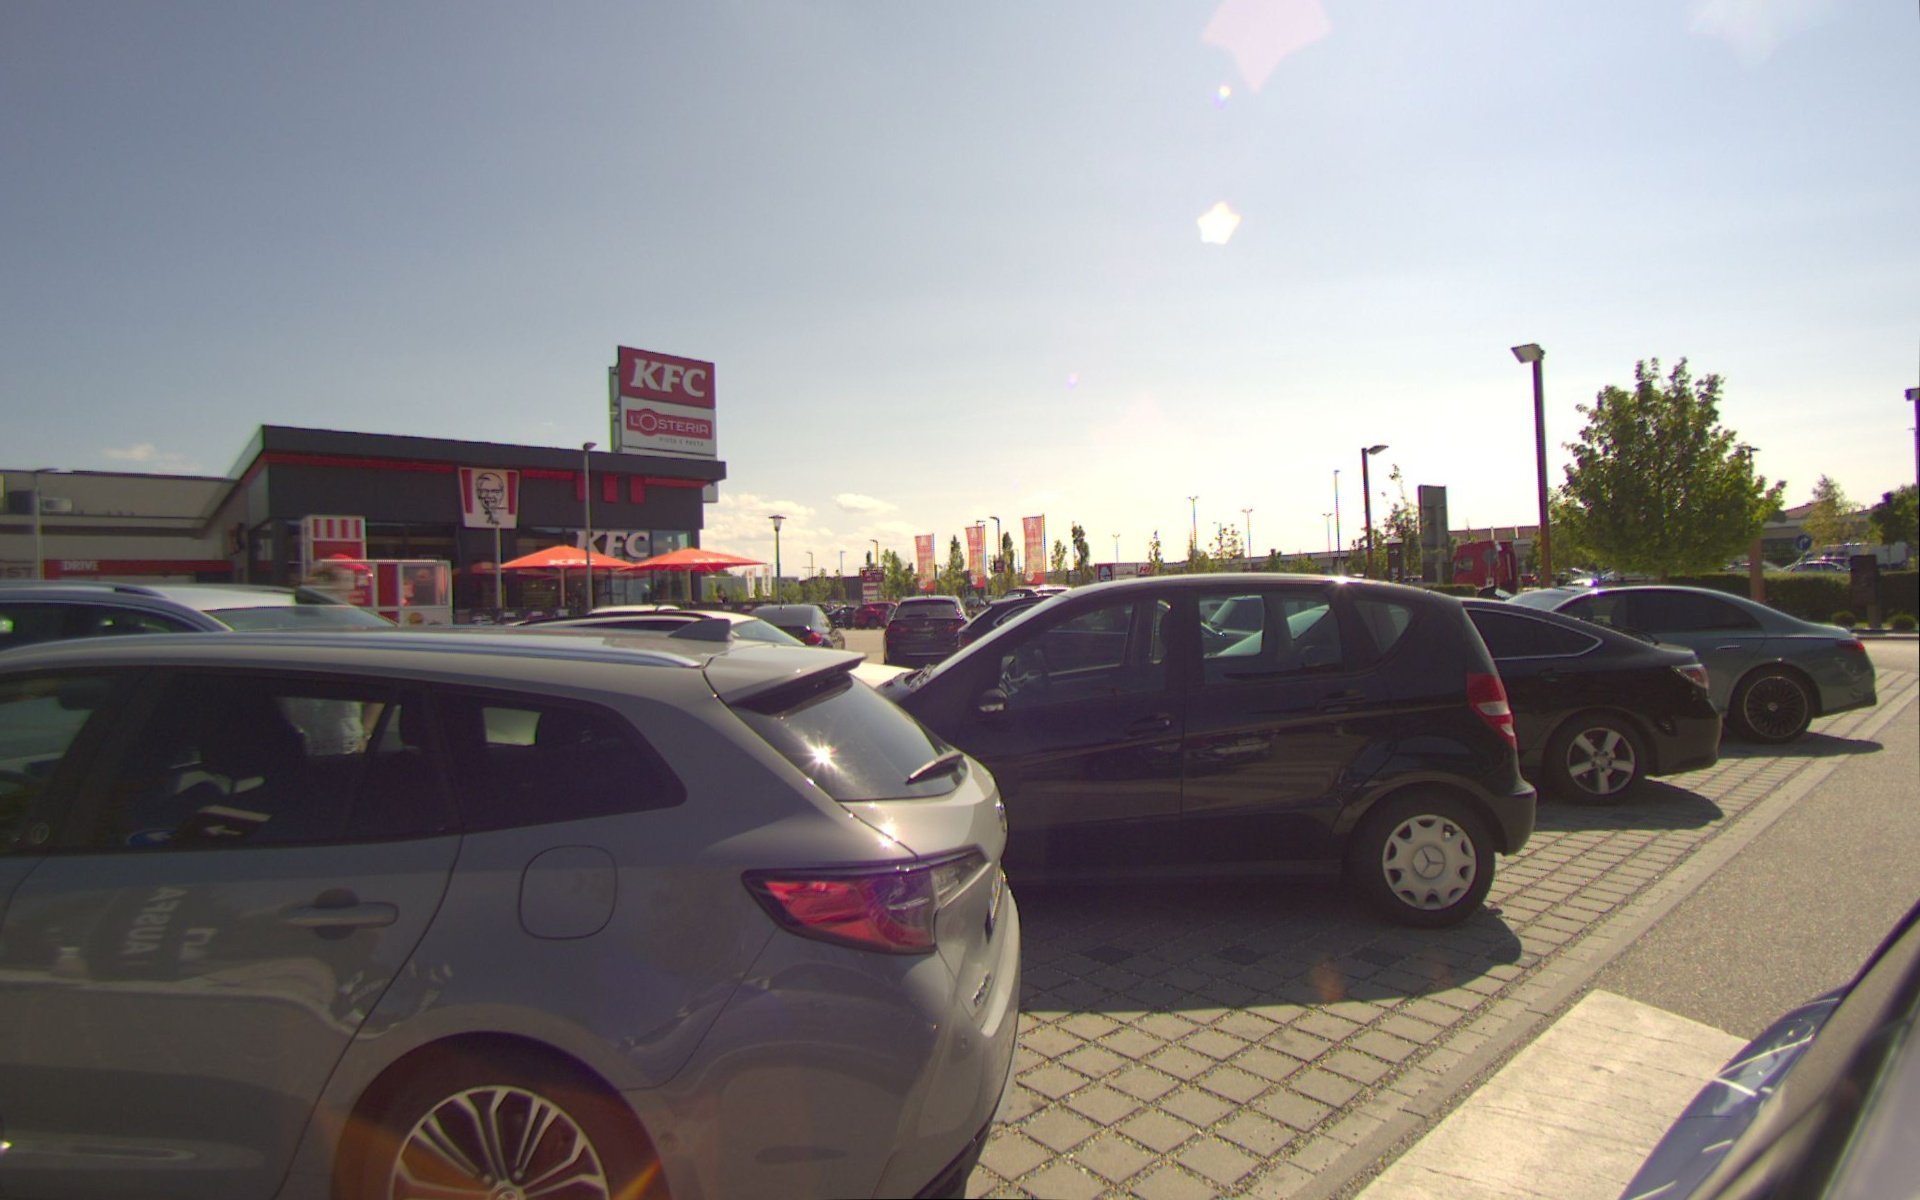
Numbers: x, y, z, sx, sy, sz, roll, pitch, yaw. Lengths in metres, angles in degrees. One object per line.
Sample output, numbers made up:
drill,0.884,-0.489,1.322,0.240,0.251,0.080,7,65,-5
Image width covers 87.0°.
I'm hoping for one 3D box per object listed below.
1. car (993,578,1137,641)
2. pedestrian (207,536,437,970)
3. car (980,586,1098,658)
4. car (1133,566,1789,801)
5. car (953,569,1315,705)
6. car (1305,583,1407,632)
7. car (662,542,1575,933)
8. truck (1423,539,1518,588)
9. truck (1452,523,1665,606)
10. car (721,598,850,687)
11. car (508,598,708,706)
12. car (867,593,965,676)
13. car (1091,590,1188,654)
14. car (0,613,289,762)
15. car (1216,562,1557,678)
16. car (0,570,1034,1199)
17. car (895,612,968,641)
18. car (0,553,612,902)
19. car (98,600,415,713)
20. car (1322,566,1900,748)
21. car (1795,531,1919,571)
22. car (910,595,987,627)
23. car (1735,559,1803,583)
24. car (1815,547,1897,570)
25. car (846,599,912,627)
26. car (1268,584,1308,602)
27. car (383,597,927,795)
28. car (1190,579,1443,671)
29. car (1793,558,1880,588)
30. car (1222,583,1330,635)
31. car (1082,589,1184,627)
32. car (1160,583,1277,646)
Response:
car,3.338,0.272,31.758,4.292,1.772,2.069,-2,0,-41
pedestrian,-2.745,0.615,4.397,0.554,1.735,0.608,-2,-1,11
car,1.794,0.487,24.467,1.742,1.530,4.359,-2,0,-10
car,3.458,0.574,7.694,4.003,1.467,1.827,-2,0,4
car,2.162,0.457,13.382,4.338,1.530,1.981,-2,0,5
car,12.853,0.224,33.119,1.878,1.440,3.774,-2,0,2
car,0.679,0.621,5.347,3.927,1.613,1.810,-2,0,3
truck,38.452,-2.672,76.507,2.373,3.394,7.577,-2,1,-8
truck,31.377,-1.735,53.539,3.152,3.915,9.122,-2,0,-38
car,-3.106,0.701,18.742,1.786,1.421,4.001,-2,0,-2
car,-5.664,0.752,16.922,1.877,1.490,4.473,-2,0,-2
car,-0.809,0.642,20.929,1.786,1.508,3.999,-2,0,0
car,4.460,0.497,25.848,1.680,1.428,4.680,-2,0,1
car,-10.439,0.938,12.319,1.809,1.443,4.186,-2,0,-1
car,6.350,0.294,15.543,4.338,1.530,1.981,-2,0,5
car,-2.107,0.718,2.997,4.581,1.465,1.833,-1,0,6
car,-1.586,1.452,56.161,3.683,1.472,1.687,-2,0,-34
car,-4.323,0.652,5.861,3.995,1.661,1.746,-1,0,5
car,-11.314,0.877,16.430,4.014,1.596,1.755,-2,0,5
car,6.230,0.533,10.189,4.461,1.530,1.885,-2,0,5
car,61.403,-3.297,69.038,2.262,2.272,6.558,-2,0,-42
car,-0.583,0.571,52.358,3.683,1.472,1.687,-2,0,-34
car,64.258,-2.287,80.401,4.169,1.750,1.897,-2,0,-10
car,59.368,-2.726,67.071,1.637,1.359,3.900,-2,0,-42
car,-4.935,0.799,61.724,3.683,1.531,1.687,-2,0,-34
car,30.433,-0.636,93.903,3.153,1.576,1.543,-2,0,-14
car,-2.363,0.735,8.511,4.008,1.426,1.792,-1,0,4
car,6.129,0.430,17.771,3.835,1.444,1.704,-2,0,6
car,55.378,-1.684,63.963,3.987,1.750,1.864,-2,0,45
car,9.653,0.257,31.215,1.762,1.440,4.089,-2,0,-4
car,7.361,0.331,42.906,4.076,1.416,1.888,-2,0,-34
car,7.167,0.375,28.489,1.770,1.576,4.060,-2,0,-7
